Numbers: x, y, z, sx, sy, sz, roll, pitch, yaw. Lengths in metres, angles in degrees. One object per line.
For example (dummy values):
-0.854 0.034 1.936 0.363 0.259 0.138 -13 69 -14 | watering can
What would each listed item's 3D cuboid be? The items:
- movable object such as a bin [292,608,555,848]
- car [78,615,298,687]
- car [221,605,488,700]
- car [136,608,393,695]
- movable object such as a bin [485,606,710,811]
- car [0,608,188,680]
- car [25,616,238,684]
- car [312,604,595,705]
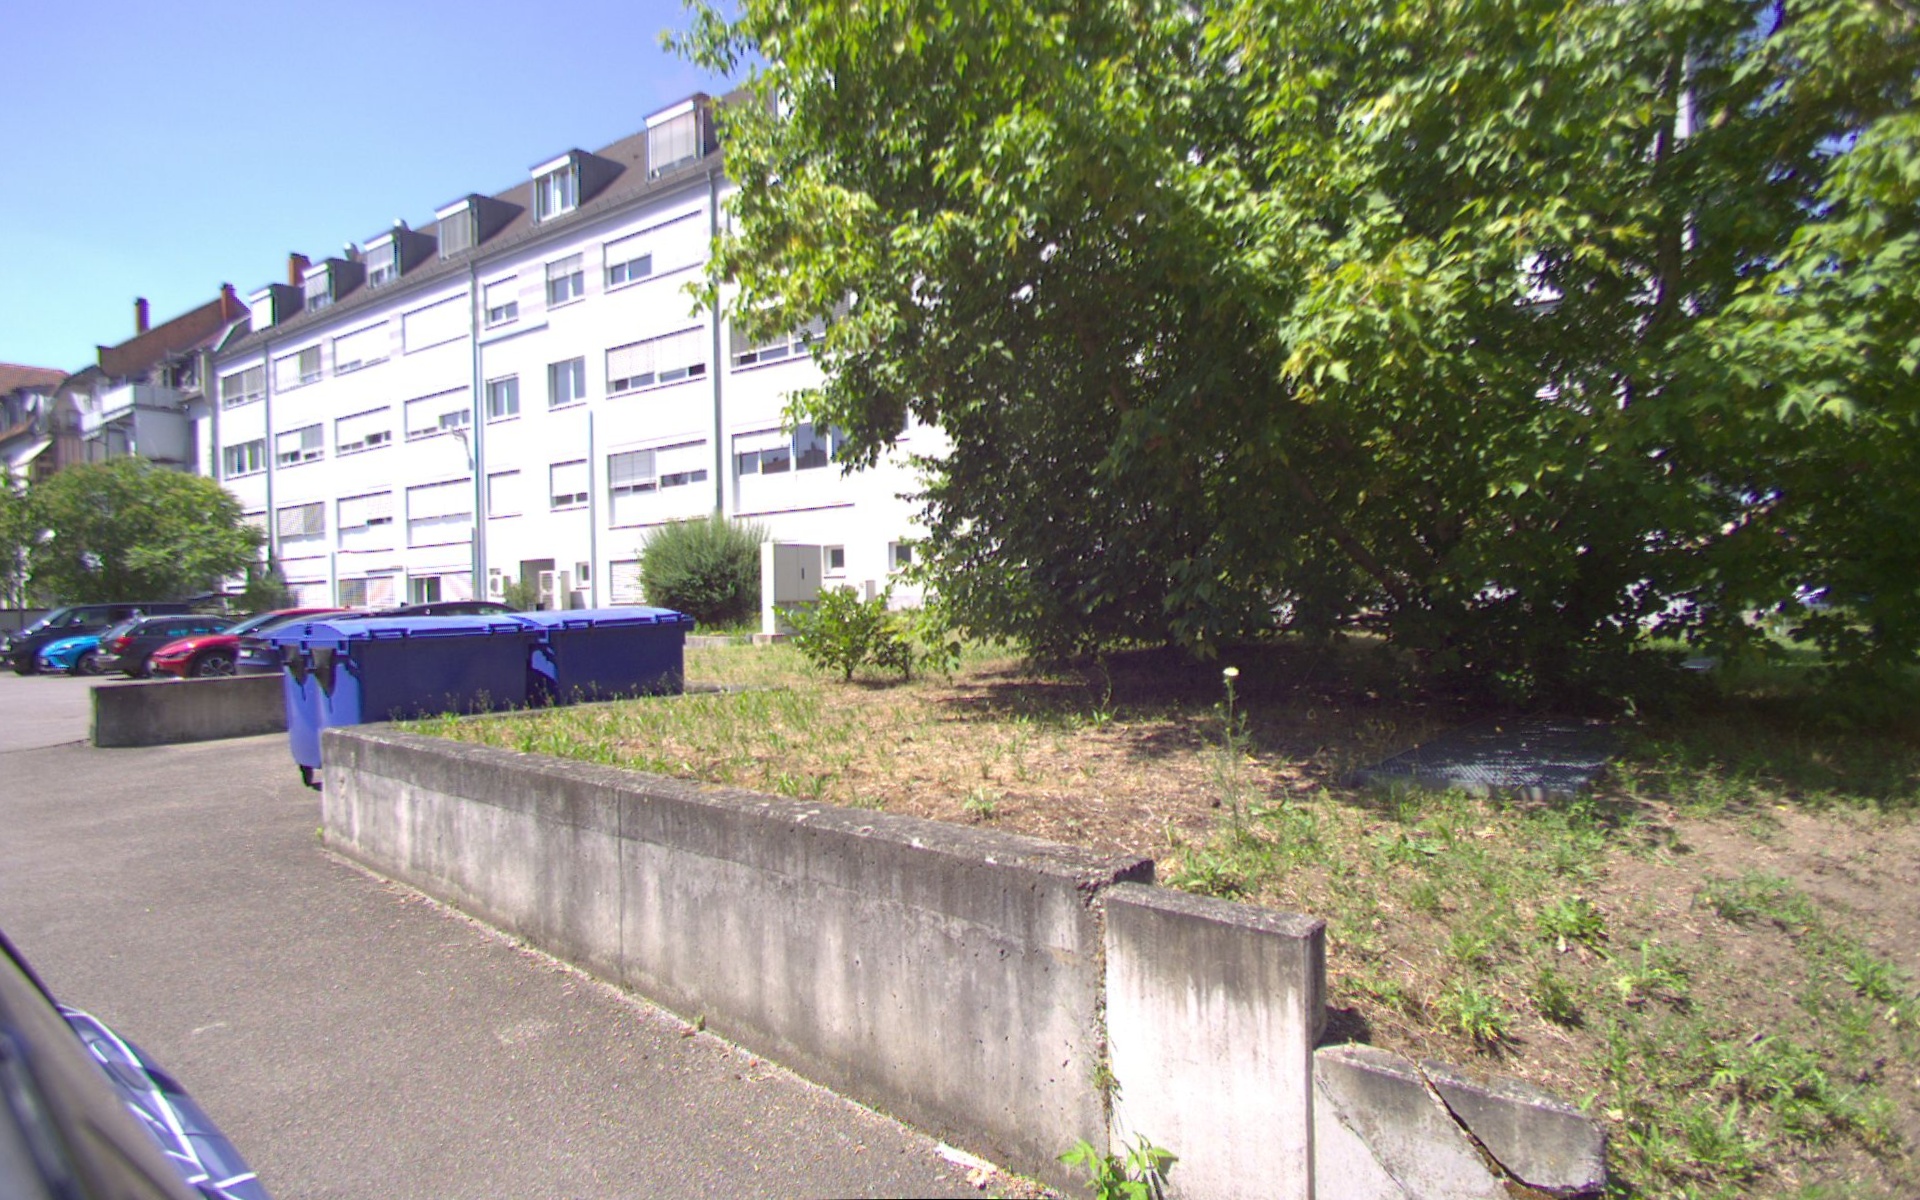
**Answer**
-3.601 0.764 6.816 1.095 1.399 1.255 -1 0 41 | movable object such as a bin
-19.474 1.216 25.699 1.610 1.580 4.174 -1 0 35 | car
-11.600 0.921 19.660 1.610 1.580 4.174 -1 0 35 | car
-14.511 0.993 21.333 1.610 1.580 4.174 -1 0 35 | car
-2.784 0.754 7.813 1.095 1.399 1.255 -1 0 41 | movable object such as a bin
-24.782 1.176 28.707 2.005 1.837 4.174 -1 0 35 | car
-22.170 1.270 27.245 1.610 1.580 4.174 -1 0 35 | car
-9.057 0.888 18.477 1.610 1.580 4.394 -1 0 35 | car
